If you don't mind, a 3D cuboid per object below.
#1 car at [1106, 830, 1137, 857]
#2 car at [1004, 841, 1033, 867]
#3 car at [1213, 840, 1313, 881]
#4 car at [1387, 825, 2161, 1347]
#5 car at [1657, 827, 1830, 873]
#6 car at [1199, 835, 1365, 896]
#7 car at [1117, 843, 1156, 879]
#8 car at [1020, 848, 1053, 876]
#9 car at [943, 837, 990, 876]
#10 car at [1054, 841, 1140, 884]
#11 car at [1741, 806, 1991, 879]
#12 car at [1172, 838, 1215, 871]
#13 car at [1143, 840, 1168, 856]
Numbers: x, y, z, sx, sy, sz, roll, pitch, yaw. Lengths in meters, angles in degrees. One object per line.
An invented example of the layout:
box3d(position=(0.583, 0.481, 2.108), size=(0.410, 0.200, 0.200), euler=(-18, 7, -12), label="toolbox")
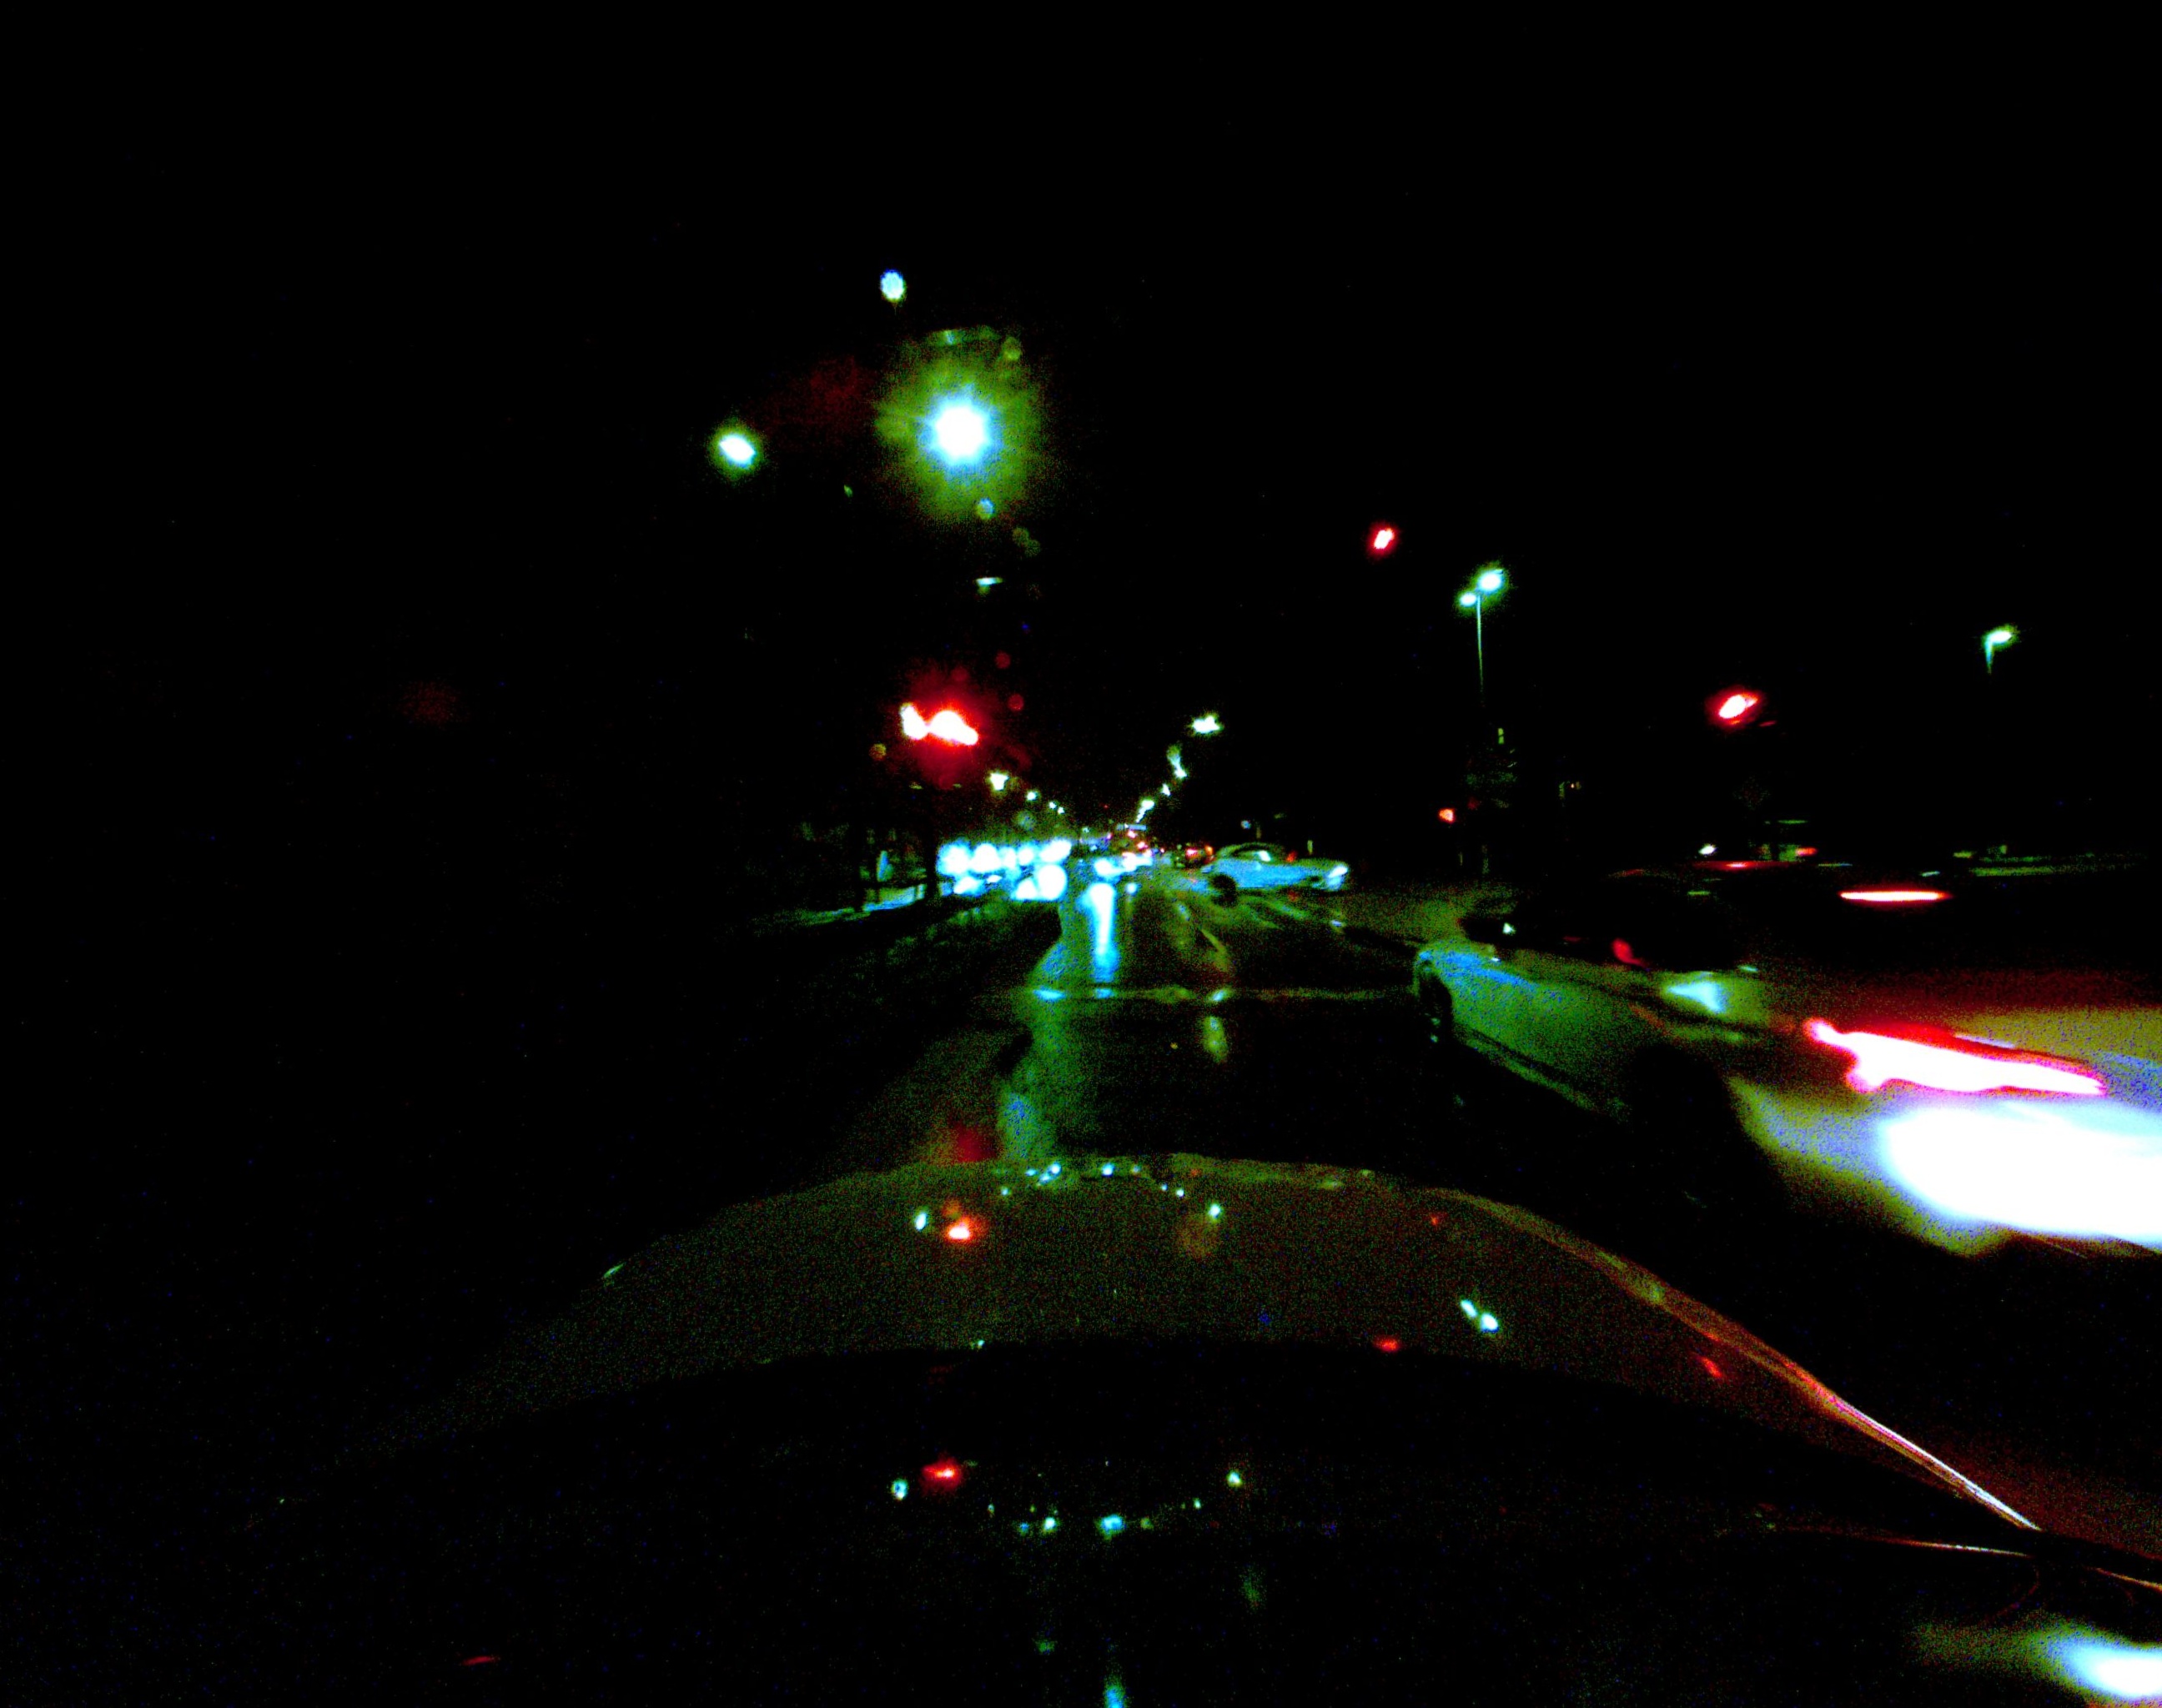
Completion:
box3d(position=(3.499, -0.855, 71.278), size=(2.433, 2.194, 5.079), euler=(-1, 0, 0), label="car")
box3d(position=(-4.968, 0.007, 65.426), size=(1.690, 2.014, 3.573), euler=(-1, 0, 5), label="car")
box3d(position=(8.565, 0.311, 38.314), size=(4.256, 1.785, 2.056), euler=(-1, -1, 21), label="car")
box3d(position=(3.342, 0.658, 4.530), size=(1.713, 1.446, 4.385), euler=(-3, 0, 2), label="car")
box3d(position=(25.150, -0.142, 31.087), size=(4.821, 1.590, 1.858), euler=(-1, 0, 10), label="car")
box3d(position=(5.892, 0.354, 23.985), size=(4.372, 1.649, 1.848), euler=(-1, -1, 30), label="car")
box3d(position=(3.209, 0.407, 47.893), size=(2.032, 2.014, 4.306), euler=(-1, 0, 0), label="car")
box3d(position=(-2.756, 0.461, 50.192), size=(1.898, 1.618, 4.508), euler=(-1, 0, -3), label="car")
box3d(position=(-5.449, 0.126, 38.428), size=(1.720, 1.734, 3.745), euler=(-1, 0, -15), label="car")
box3d(position=(0.592, 0.352, 34.637), size=(1.844, 1.671, 4.424), euler=(-1, 0, -26), label="car")
box3d(position=(21.027, -0.284, 21.984), size=(4.801, 1.769, 1.839), euler=(-1, -1, 3), label="car")
box3d(position=(7.261, 0.038, 53.182), size=(2.033, 2.014, 4.303), euler=(-1, 0, -2), label="car")
box3d(position=(7.442, -0.549, 81.713), size=(2.084, 1.545, 4.307), euler=(-1, 0, 0), label="car")
